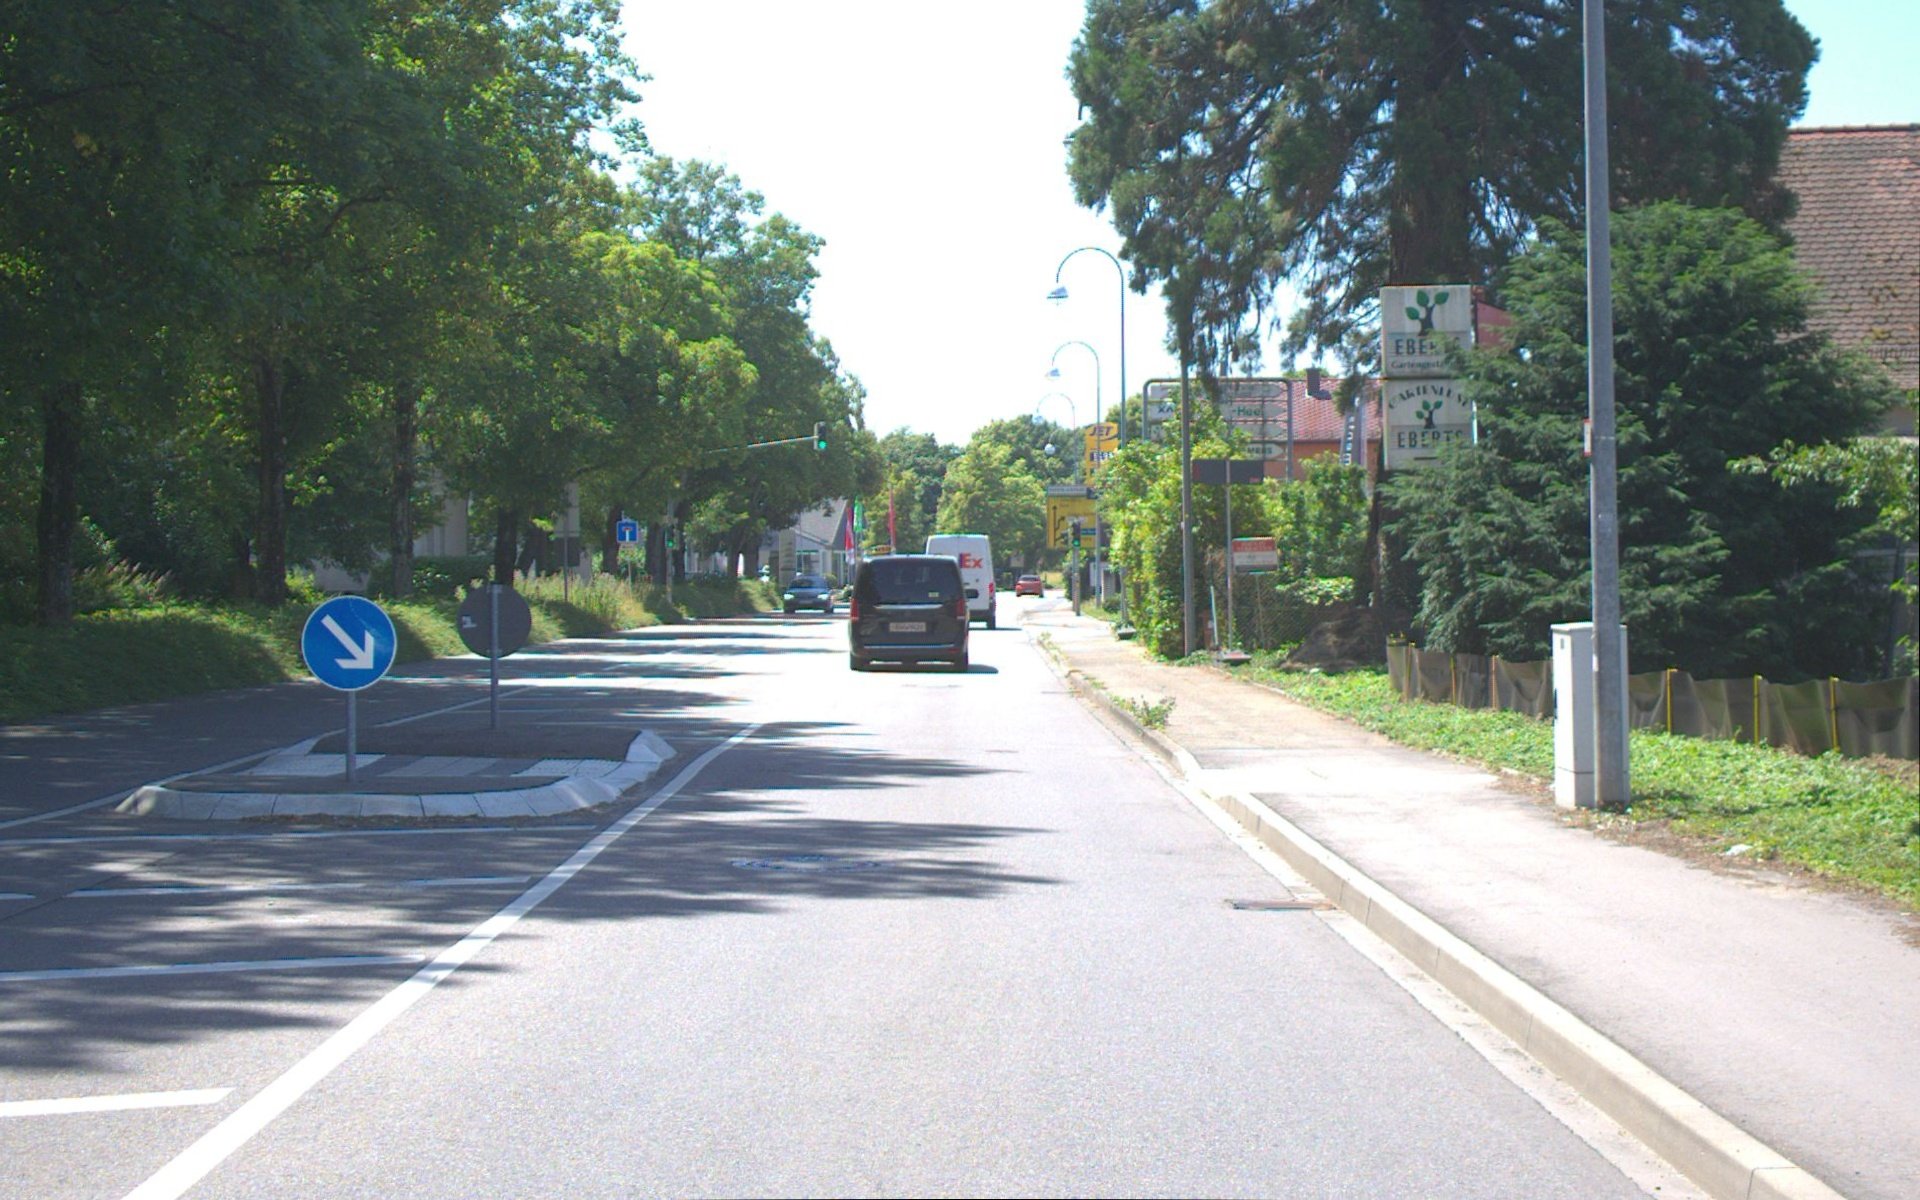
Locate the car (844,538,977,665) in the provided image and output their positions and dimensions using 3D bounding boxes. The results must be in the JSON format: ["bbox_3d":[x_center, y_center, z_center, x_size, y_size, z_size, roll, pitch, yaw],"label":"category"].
[{"bbox_3d":[-0.832,-0.008,55.014,1.993,1.886,4.001,1,1,-2],"label":"car"}]

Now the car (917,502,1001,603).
[{"bbox_3d":[0.011,-1.339,94.908,2.120,2.668,5.662,1,1,1],"label":"car"}]

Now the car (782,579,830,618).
[{"bbox_3d":[-5.885,-0.075,131.848,1.721,1.422,4.148,1,1,-1],"label":"car"}]

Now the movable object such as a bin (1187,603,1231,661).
[{"bbox_3d":[4.021,0.519,55.499,0.471,0.924,0.523,2,0,34],"label":"movable object such as a bin"}]

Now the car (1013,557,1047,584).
[{"bbox_3d":[4.587,-1.929,225.251,1.857,1.637,4.001,1,1,-4],"label":"car"}]
